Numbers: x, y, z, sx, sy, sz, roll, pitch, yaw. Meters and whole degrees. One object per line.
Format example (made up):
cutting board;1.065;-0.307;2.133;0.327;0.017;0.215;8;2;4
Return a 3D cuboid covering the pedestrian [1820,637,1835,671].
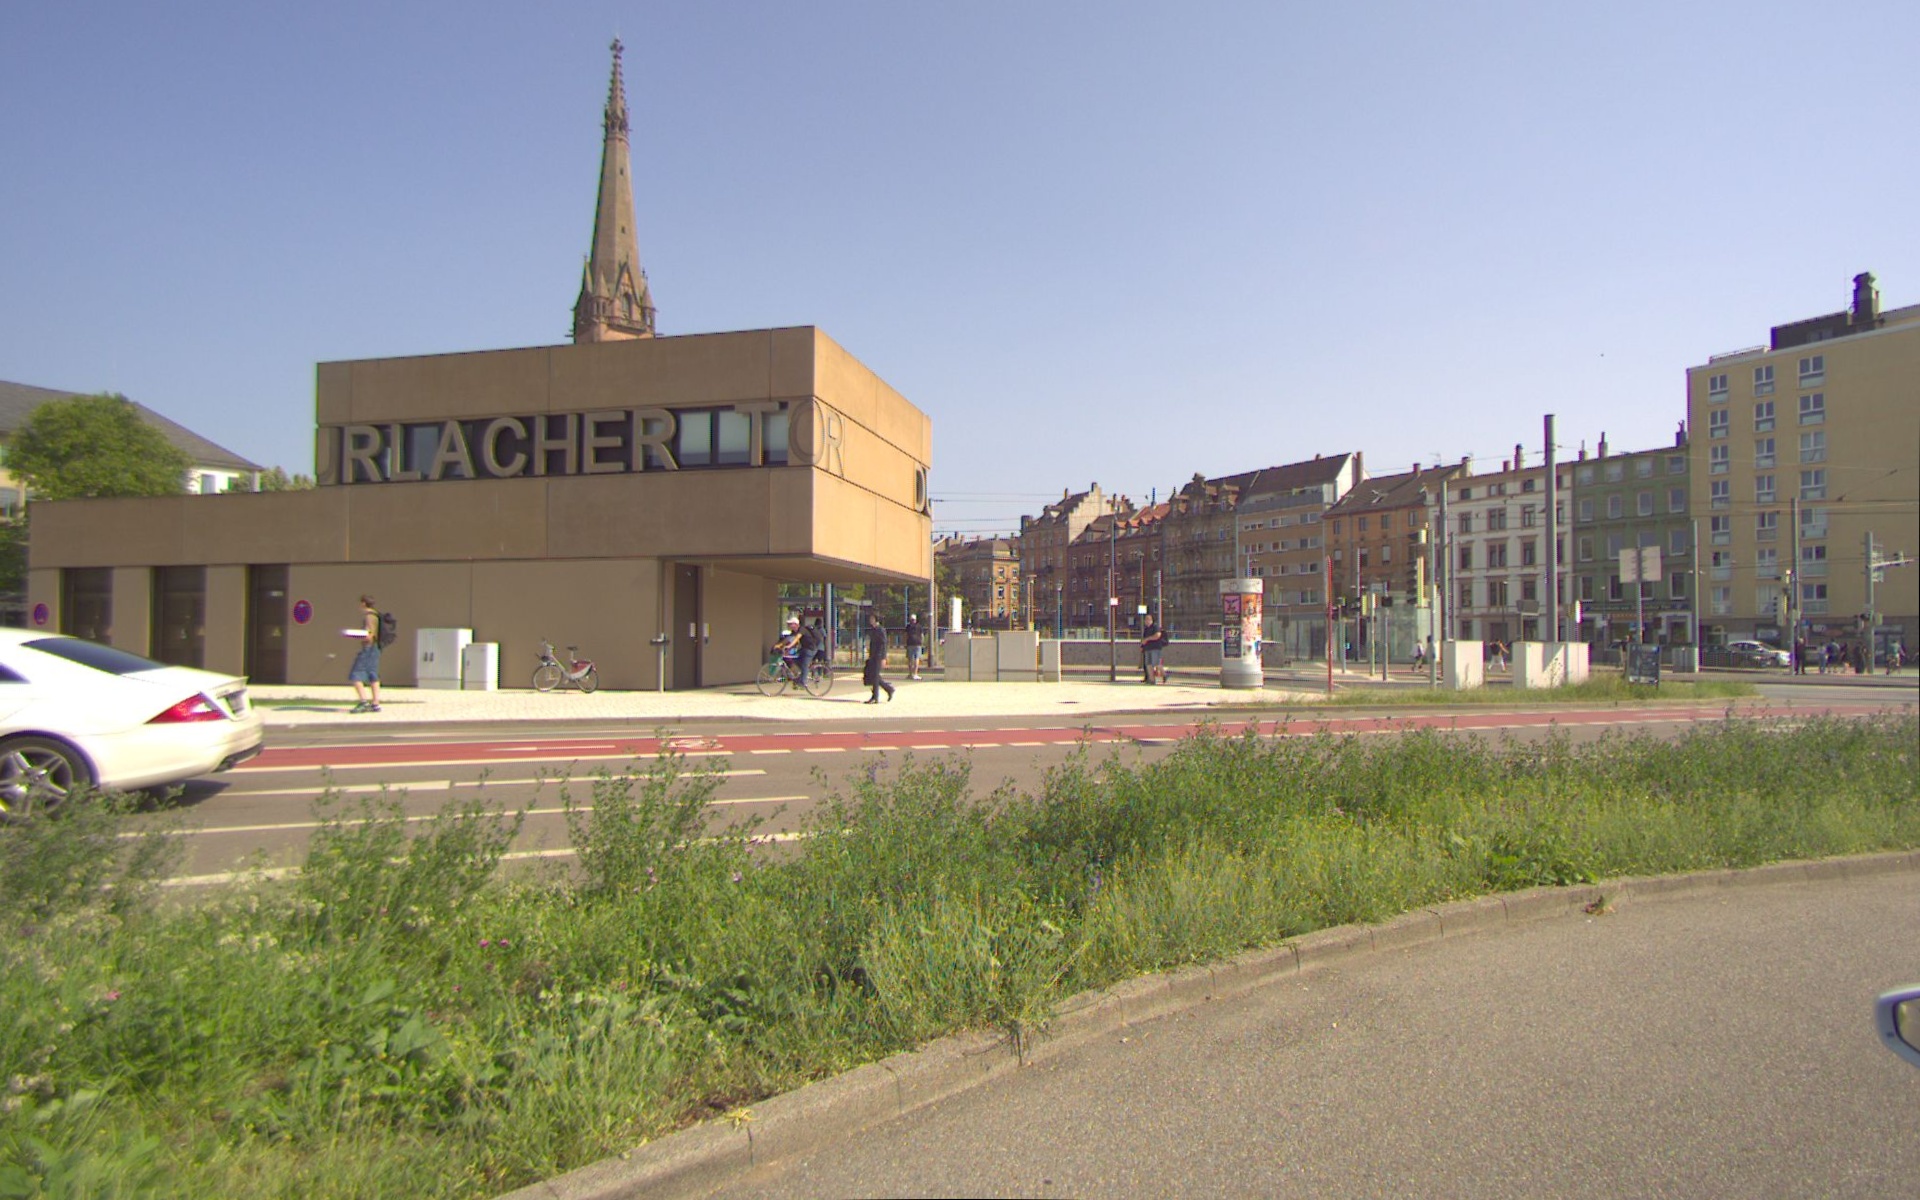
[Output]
pedestrian;44.945;2.801;52.039;0.447;1.707;0.440;-2;0;22

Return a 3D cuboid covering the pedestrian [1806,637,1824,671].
pedestrian;43.957;2.789;51.631;0.538;1.707;0.454;-2;0;-17

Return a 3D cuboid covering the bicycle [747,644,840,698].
bicycle;-3.516;1.502;21.272;1.826;1.078;0.560;3;-1;-26

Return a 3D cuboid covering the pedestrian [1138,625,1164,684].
pedestrian;5.287;1.513;27.884;0.499;1.601;0.497;-2;0;-15

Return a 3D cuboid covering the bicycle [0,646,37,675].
bicycle;-33.271;2.109;35.200;1.837;1.022;0.462;-1;-2;16

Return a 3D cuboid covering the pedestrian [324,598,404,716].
pedestrian;-9.371;0.876;15.795;0.668;1.783;0.874;1;0;40

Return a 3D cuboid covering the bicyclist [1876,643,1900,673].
bicyclist;45.963;2.879;49.729;0.683;1.453;0.721;2;-2;-33

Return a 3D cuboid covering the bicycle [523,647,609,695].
bicycle;-8.283;1.484;21.137;1.580;0.968;0.661;0;0;14

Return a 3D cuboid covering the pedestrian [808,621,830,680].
pedestrian;-4.221;1.503;30.026;0.523;1.718;0.607;-2;0;1

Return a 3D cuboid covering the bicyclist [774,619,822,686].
bicyclist;-3.438;1.096;21.305;0.871;1.380;0.560;0;1;-26

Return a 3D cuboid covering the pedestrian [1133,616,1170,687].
pedestrian;5.134;1.377;26.903;0.878;1.843;0.882;-2;0;12

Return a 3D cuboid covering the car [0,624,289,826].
car;-8.059;0.875;7.503;4.752;1.379;1.837;2;-1;-24

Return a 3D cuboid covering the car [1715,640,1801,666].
car;47.299;3.123;59.602;1.567;1.411;3.722;1;-2;-29

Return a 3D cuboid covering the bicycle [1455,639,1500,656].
bicycle;43.105;3.968;83.724;0.765;1.365;3.513;-2;-1;-30

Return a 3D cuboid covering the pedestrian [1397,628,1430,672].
pedestrian;21.454;2.345;47.557;1.009;2.040;0.954;-2;-1;-29

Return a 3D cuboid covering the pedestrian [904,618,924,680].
pedestrian;-1.382;1.463;30.286;0.547;1.843;0.392;-2;0;-4

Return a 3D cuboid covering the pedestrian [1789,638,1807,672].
pedestrian;43.313;2.849;51.920;0.537;1.707;0.455;-2;0;-5

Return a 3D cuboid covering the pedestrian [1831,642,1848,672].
pedestrian;45.429;2.941;51.867;0.489;1.507;0.440;-2;0;22

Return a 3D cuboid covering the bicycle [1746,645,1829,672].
bicycle;53.496;3.760;65.003;1.182;1.572;3.968;-1;-1;-31

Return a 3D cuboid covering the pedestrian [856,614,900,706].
pedestrian;-1.671;1.198;20.362;0.832;1.802;0.876;-2;0;-6

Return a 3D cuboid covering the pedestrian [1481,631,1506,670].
pedestrian;25.779;2.442;48.539;0.847;1.810;0.772;-2;1;-32

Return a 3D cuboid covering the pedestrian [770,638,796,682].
pedestrian;-4.815;1.633;27.351;0.513;1.187;0.596;0;-2;13

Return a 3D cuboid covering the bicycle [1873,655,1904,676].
bicycle;45.951;3.220;49.711;1.714;0.997;0.723;2;-2;-34
